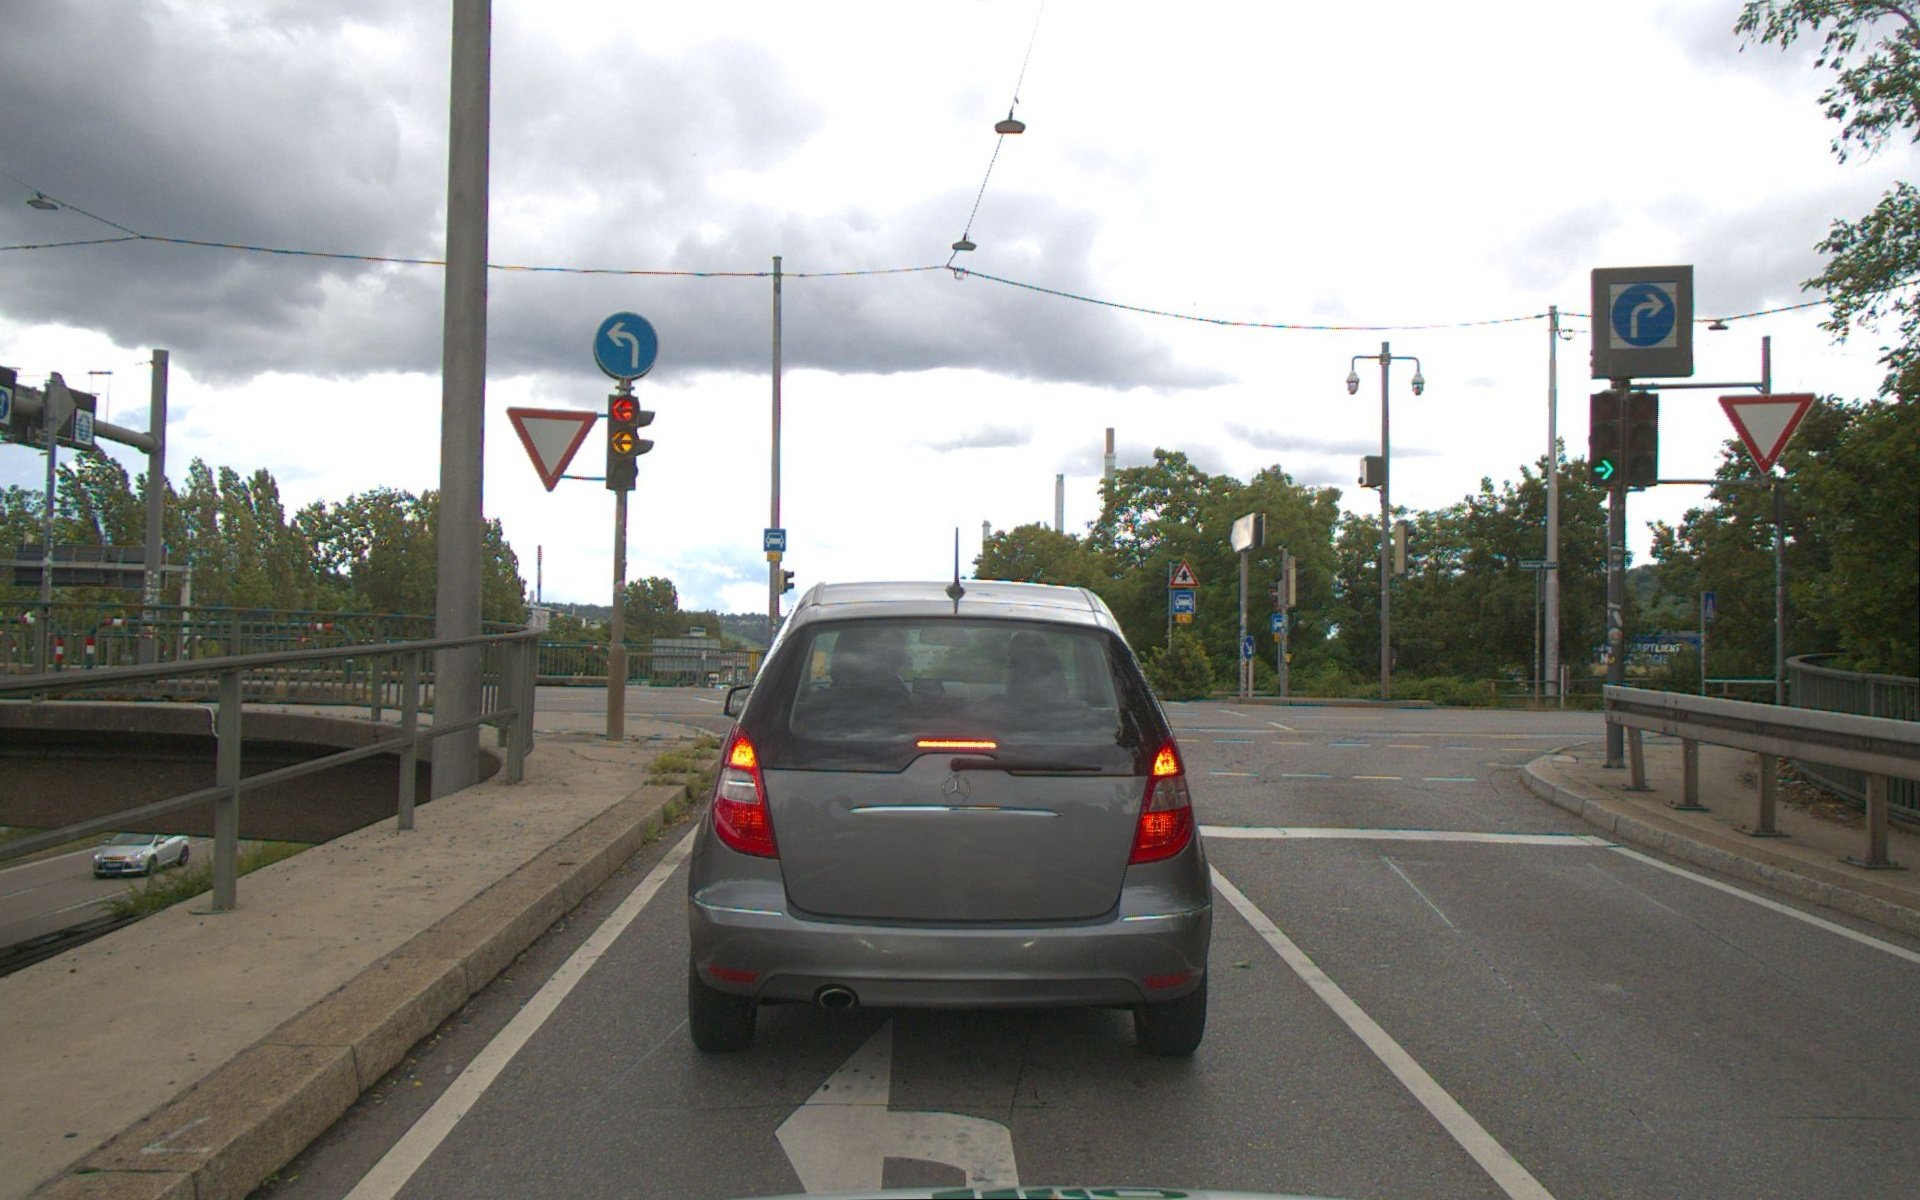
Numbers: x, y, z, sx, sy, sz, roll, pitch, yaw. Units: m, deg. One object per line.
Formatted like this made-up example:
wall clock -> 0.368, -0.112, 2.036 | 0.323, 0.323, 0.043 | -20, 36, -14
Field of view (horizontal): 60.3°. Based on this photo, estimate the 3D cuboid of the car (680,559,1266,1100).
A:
car -> 0.023, 0.685, 6.648 | 1.704, 1.570, 3.540 | 1, 0, -1

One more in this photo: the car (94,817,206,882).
car -> -27.038, 8.294, 55.365 | 1.646, 1.640, 4.491 | -1, -2, -2
